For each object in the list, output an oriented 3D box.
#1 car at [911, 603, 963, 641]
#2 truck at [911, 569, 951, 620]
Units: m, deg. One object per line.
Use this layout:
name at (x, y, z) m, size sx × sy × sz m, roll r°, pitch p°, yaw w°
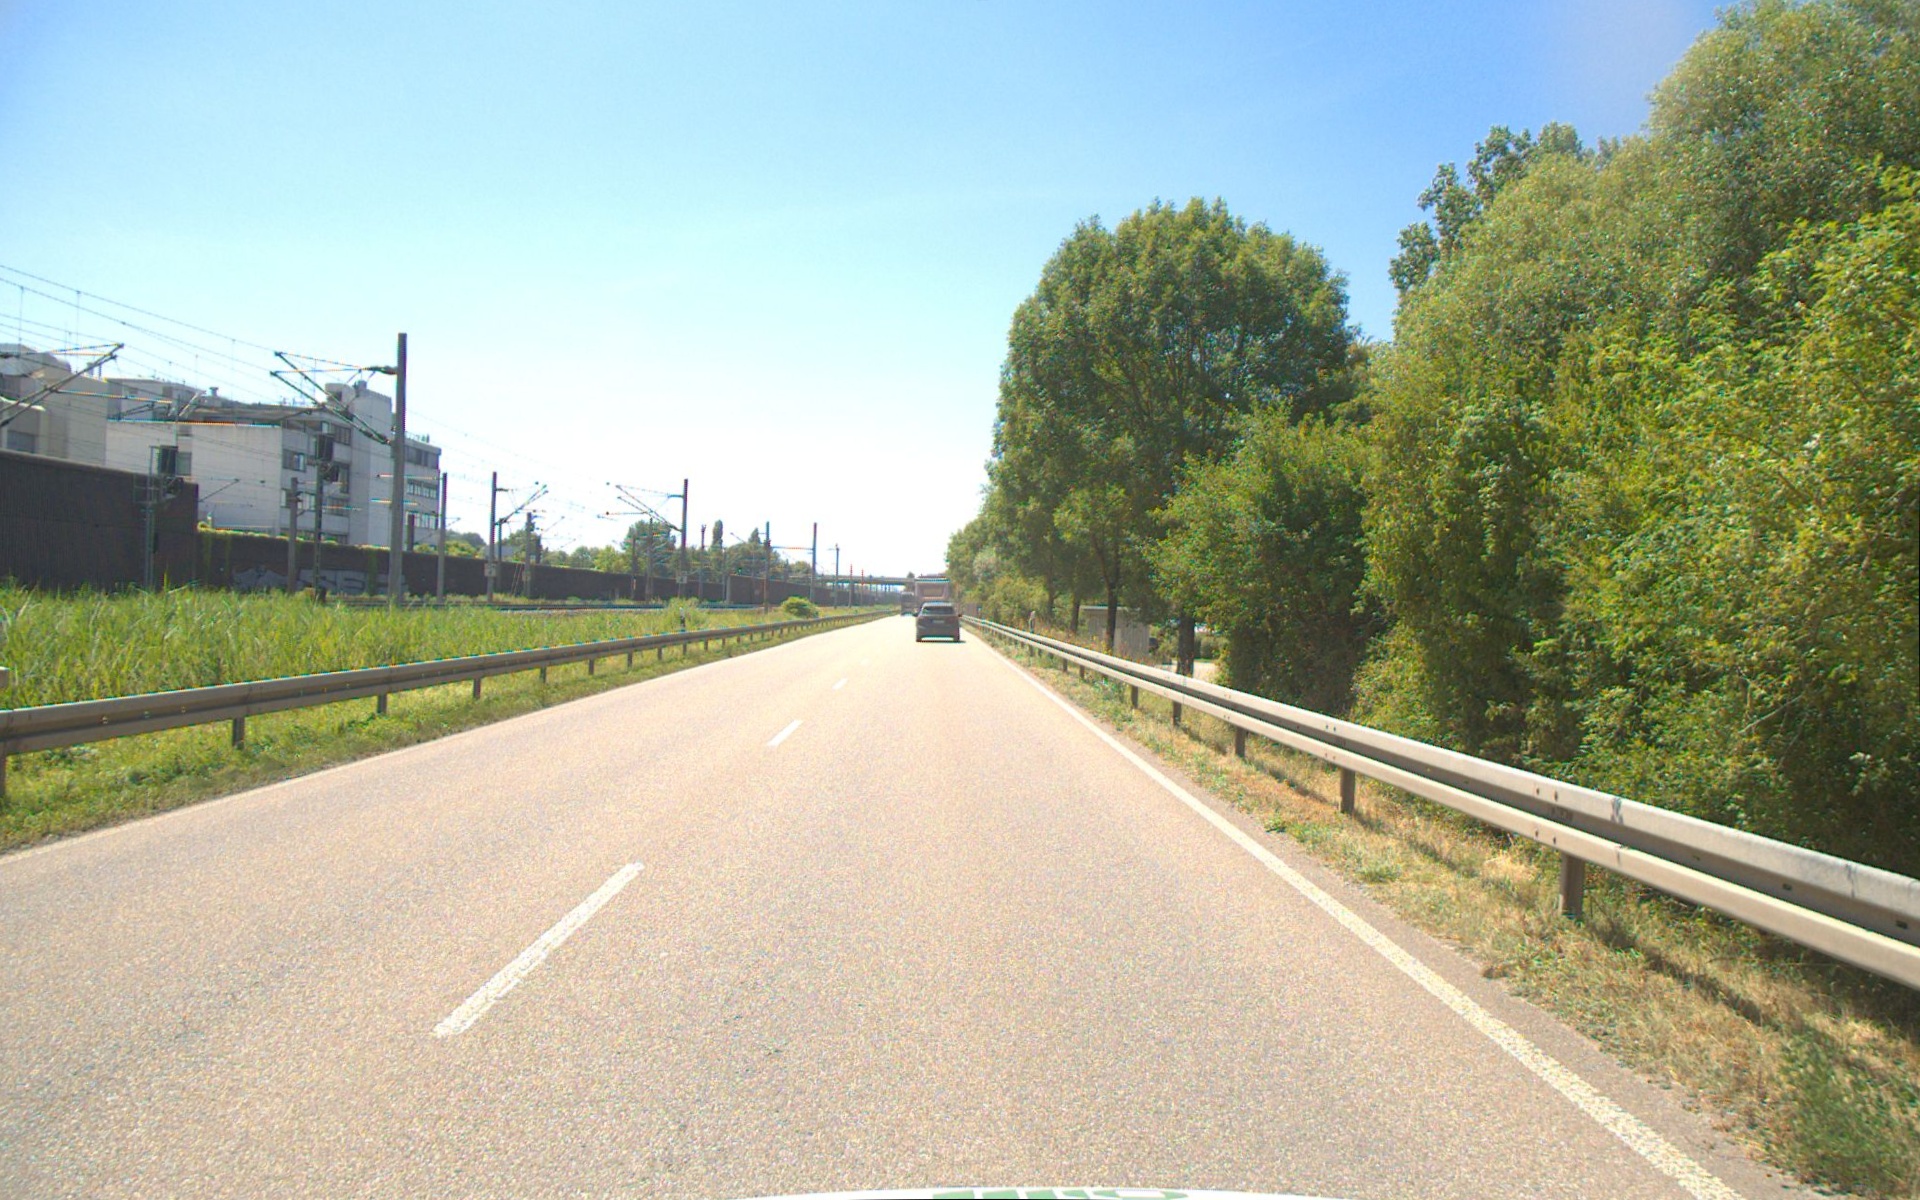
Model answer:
car at (-0.972, 0.882, 67.907) m, size 1.954 × 1.534 × 3.997 m, roll 0°, pitch 0°, yaw -3°
truck at (-2.073, -0.366, 119.277) m, size 2.714 × 3.485 × 10.816 m, roll 0°, pitch 0°, yaw -1°
